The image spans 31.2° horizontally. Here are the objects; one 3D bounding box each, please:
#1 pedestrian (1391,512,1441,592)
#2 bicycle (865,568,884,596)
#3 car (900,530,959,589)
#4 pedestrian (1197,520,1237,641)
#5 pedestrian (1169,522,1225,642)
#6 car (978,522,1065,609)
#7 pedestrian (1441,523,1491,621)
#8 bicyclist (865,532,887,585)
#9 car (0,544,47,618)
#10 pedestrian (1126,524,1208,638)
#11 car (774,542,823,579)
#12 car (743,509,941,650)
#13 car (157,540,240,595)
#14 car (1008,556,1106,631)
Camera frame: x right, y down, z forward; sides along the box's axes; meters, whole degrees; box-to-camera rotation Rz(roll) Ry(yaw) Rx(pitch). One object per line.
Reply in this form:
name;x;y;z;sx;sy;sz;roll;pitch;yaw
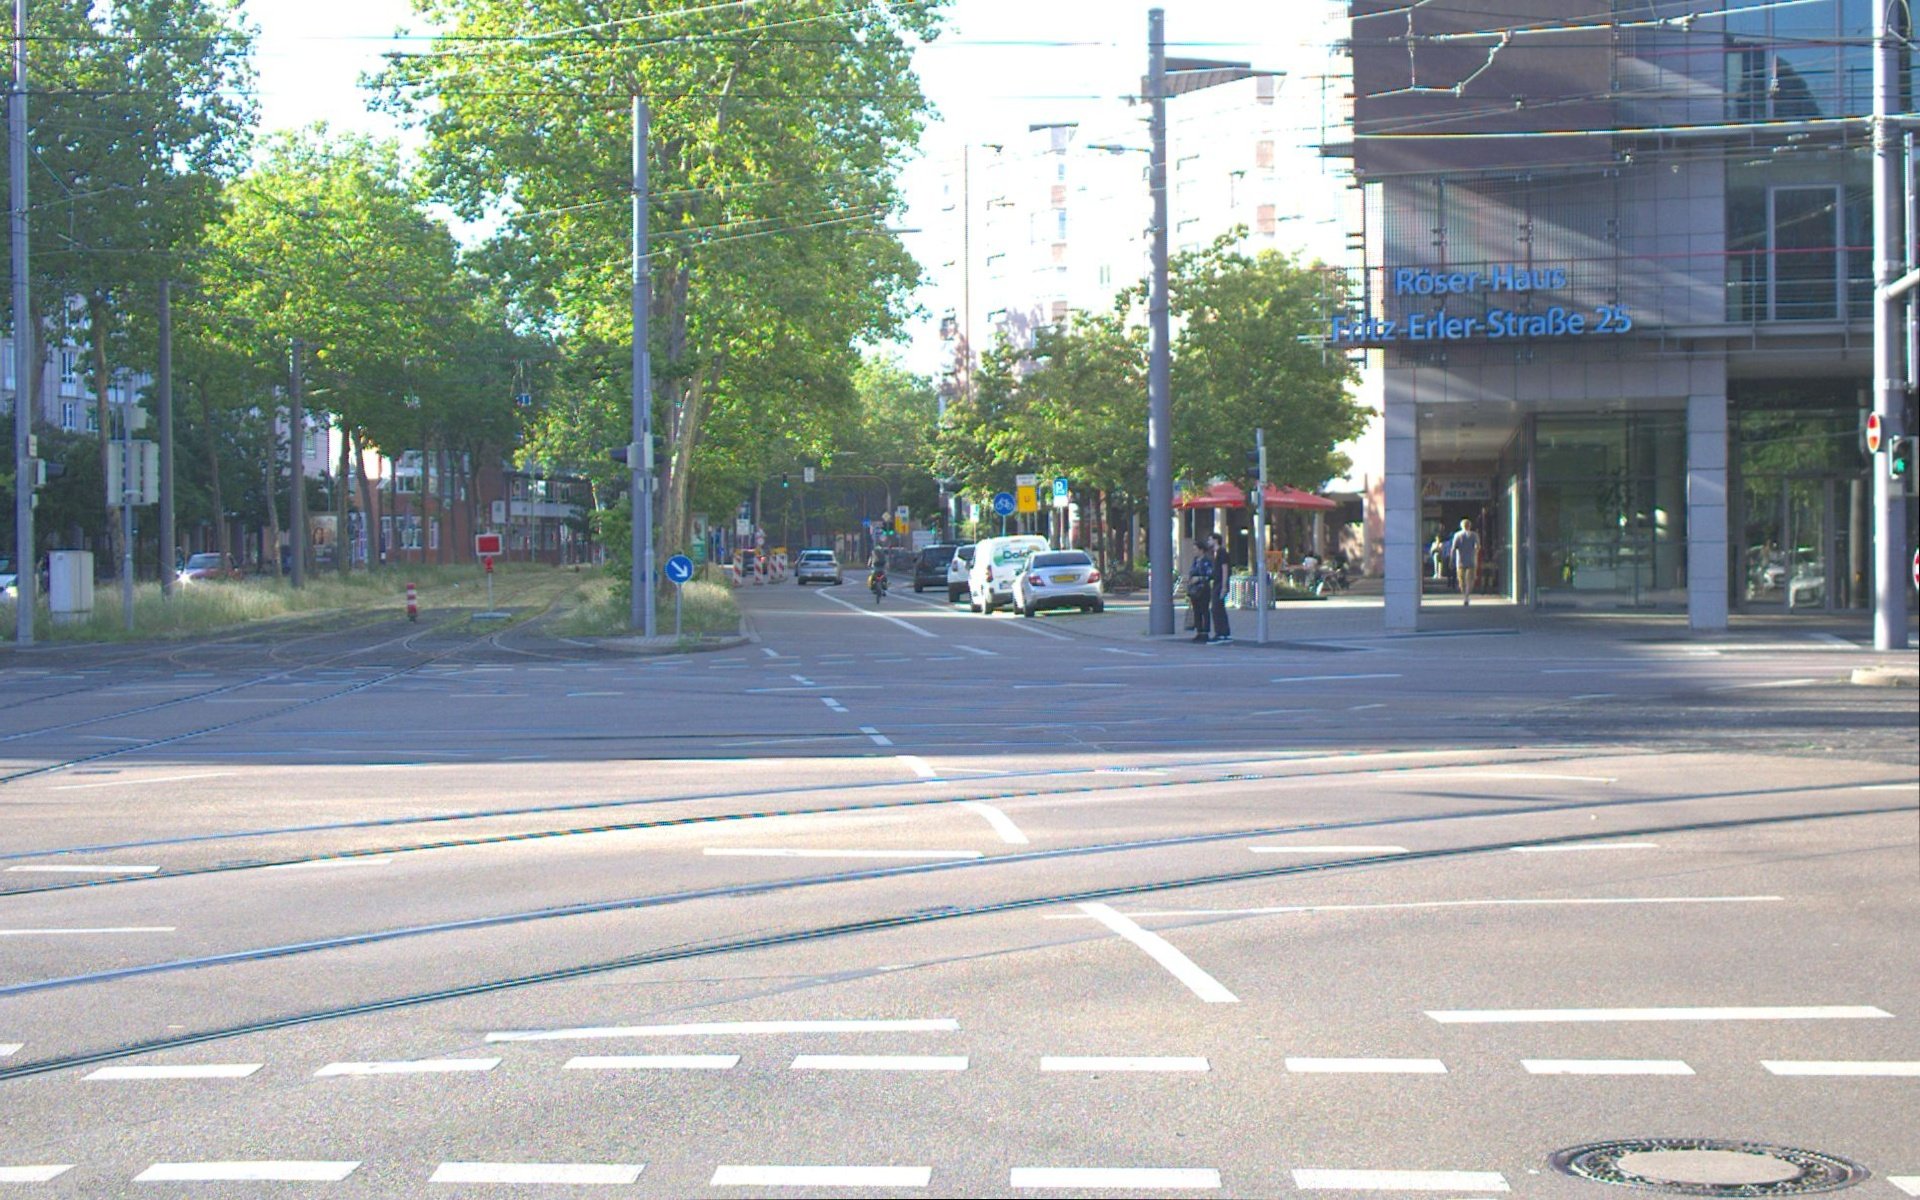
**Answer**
pedestrian;12.687;-1.339;95.682;1.313;2.182;1.170;1;0;6
bicycle;-2.383;-0.506;96.078;0.490;0.785;1.862;1;0;0
car;-1.067;-1.404;120.730;1.993;2.007;4.000;1;0;0
pedestrian;4.313;-0.327;57.640;0.586;2.007;0.620;1;0;0
pedestrian;4.026;-0.311;58.352;0.849;2.007;0.708;1;0;-1
car;1.472;-0.834;83.540;1.993;2.007;4.000;1;0;0
pedestrian;10.531;-0.572;71.564;0.869;2.007;0.793;1;-1;0
bicyclist;-2.342;-1.161;95.922;0.486;1.434;0.615;4;1;0
car;-21.634;-0.446;76.911;1.676;1.602;4.001;1;0;-5
pedestrian;3.562;-0.327;59.283;1.342;1.944;1.011;0;0;0
car;-6.727;-1.662;143.592;1.748;1.413;4.000;1;2;2
car;-1.839;-0.362;52.071;1.993;2.006;4.194;-1;2;-17
car;-25.187;-1.085;113.784;1.844;1.777;4.000;-1;1;0
car;2.137;-0.154;76.801;2.029;1.590;4.000;1;0;0
